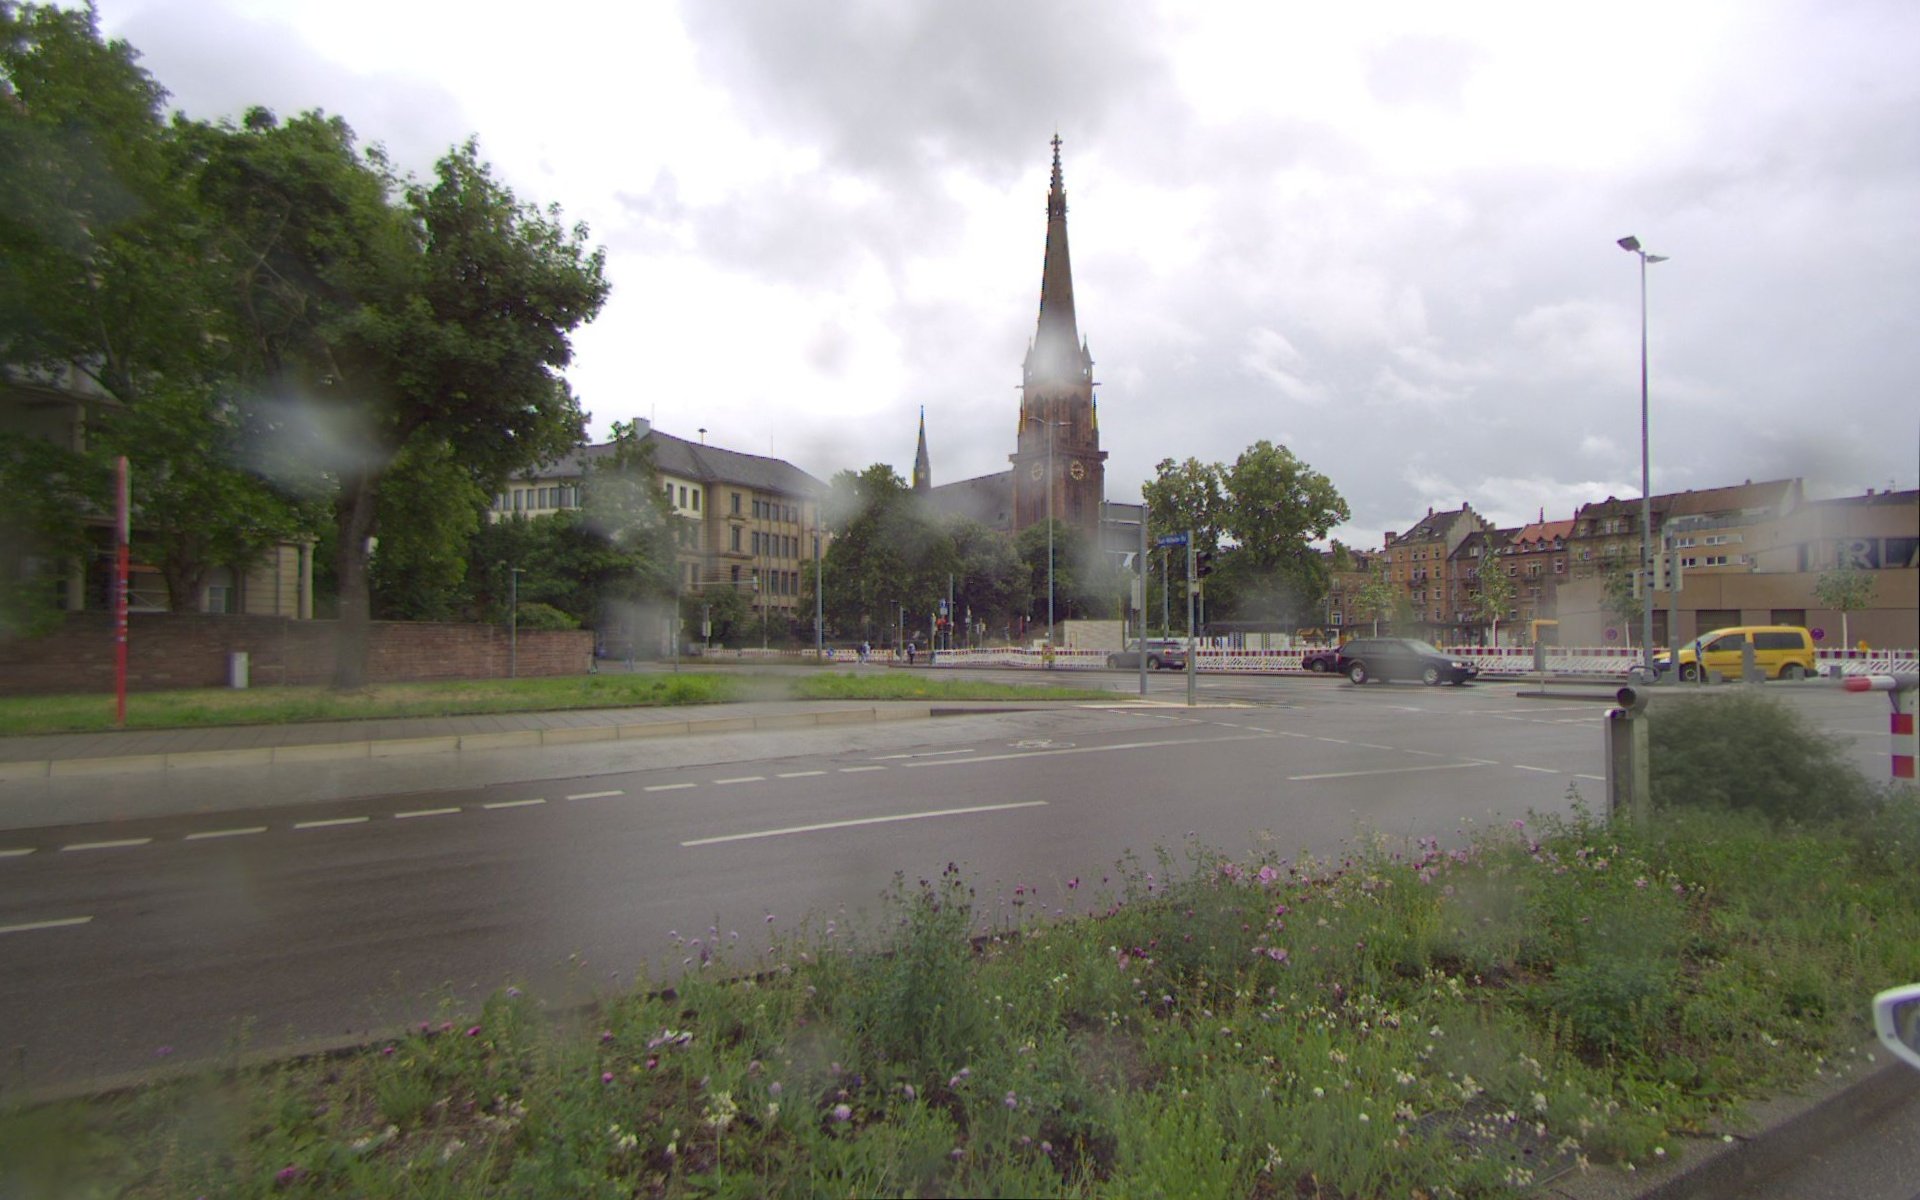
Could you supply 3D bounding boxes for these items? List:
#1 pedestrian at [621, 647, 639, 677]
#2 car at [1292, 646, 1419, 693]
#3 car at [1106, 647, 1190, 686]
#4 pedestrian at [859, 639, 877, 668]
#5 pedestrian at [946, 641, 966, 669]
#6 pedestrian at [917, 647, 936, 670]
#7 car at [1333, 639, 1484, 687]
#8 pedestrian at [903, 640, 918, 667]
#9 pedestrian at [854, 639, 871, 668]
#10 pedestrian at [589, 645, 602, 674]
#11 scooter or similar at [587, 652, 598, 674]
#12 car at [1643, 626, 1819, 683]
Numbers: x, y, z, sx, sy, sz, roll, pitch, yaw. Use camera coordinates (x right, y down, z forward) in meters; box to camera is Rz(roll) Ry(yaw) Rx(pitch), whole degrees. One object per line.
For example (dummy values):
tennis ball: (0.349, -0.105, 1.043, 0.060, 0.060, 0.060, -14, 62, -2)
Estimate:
pedestrian: (-16.969, 3.182, 51.666, 0.662, 1.520, 0.774, 0, -2, 0)
car: (15.639, 2.697, 39.808, 4.388, 1.728, 1.705, -1, -2, 36)
car: (8.876, 3.097, 47.692, 1.695, 1.728, 3.780, 1, -2, -37)
pedestrian: (-6.396, 3.713, 69.756, 0.945, 2.040, 0.852, 1, -2, -30)
pedestrian: (-0.309, 4.053, 74.763, 0.981, 2.040, 1.305, -1, -2, 34)
pedestrian: (-2.380, 4.174, 71.907, 0.917, 1.560, 1.057, -1, -2, 34)
car: (14.190, 1.955, 31.983, 1.602, 1.420, 4.163, 1, -2, -36)
pedestrian: (-3.331, 3.580, 67.426, 0.765, 1.801, 0.720, 1, -2, -30)
pedestrian: (-6.828, 3.748, 70.574, 0.945, 2.040, 0.852, 1, -2, -30)
pedestrian: (-24.752, 4.032, 68.158, 0.594, 1.915, 0.603, 0, -2, 6)
scooter or similar: (-19.369, 3.317, 52.981, 0.274, 1.096, 1.078, 0, -2, -4)
car: (24.376, 1.716, 31.924, 4.069, 1.728, 1.712, -1, -2, 17)
